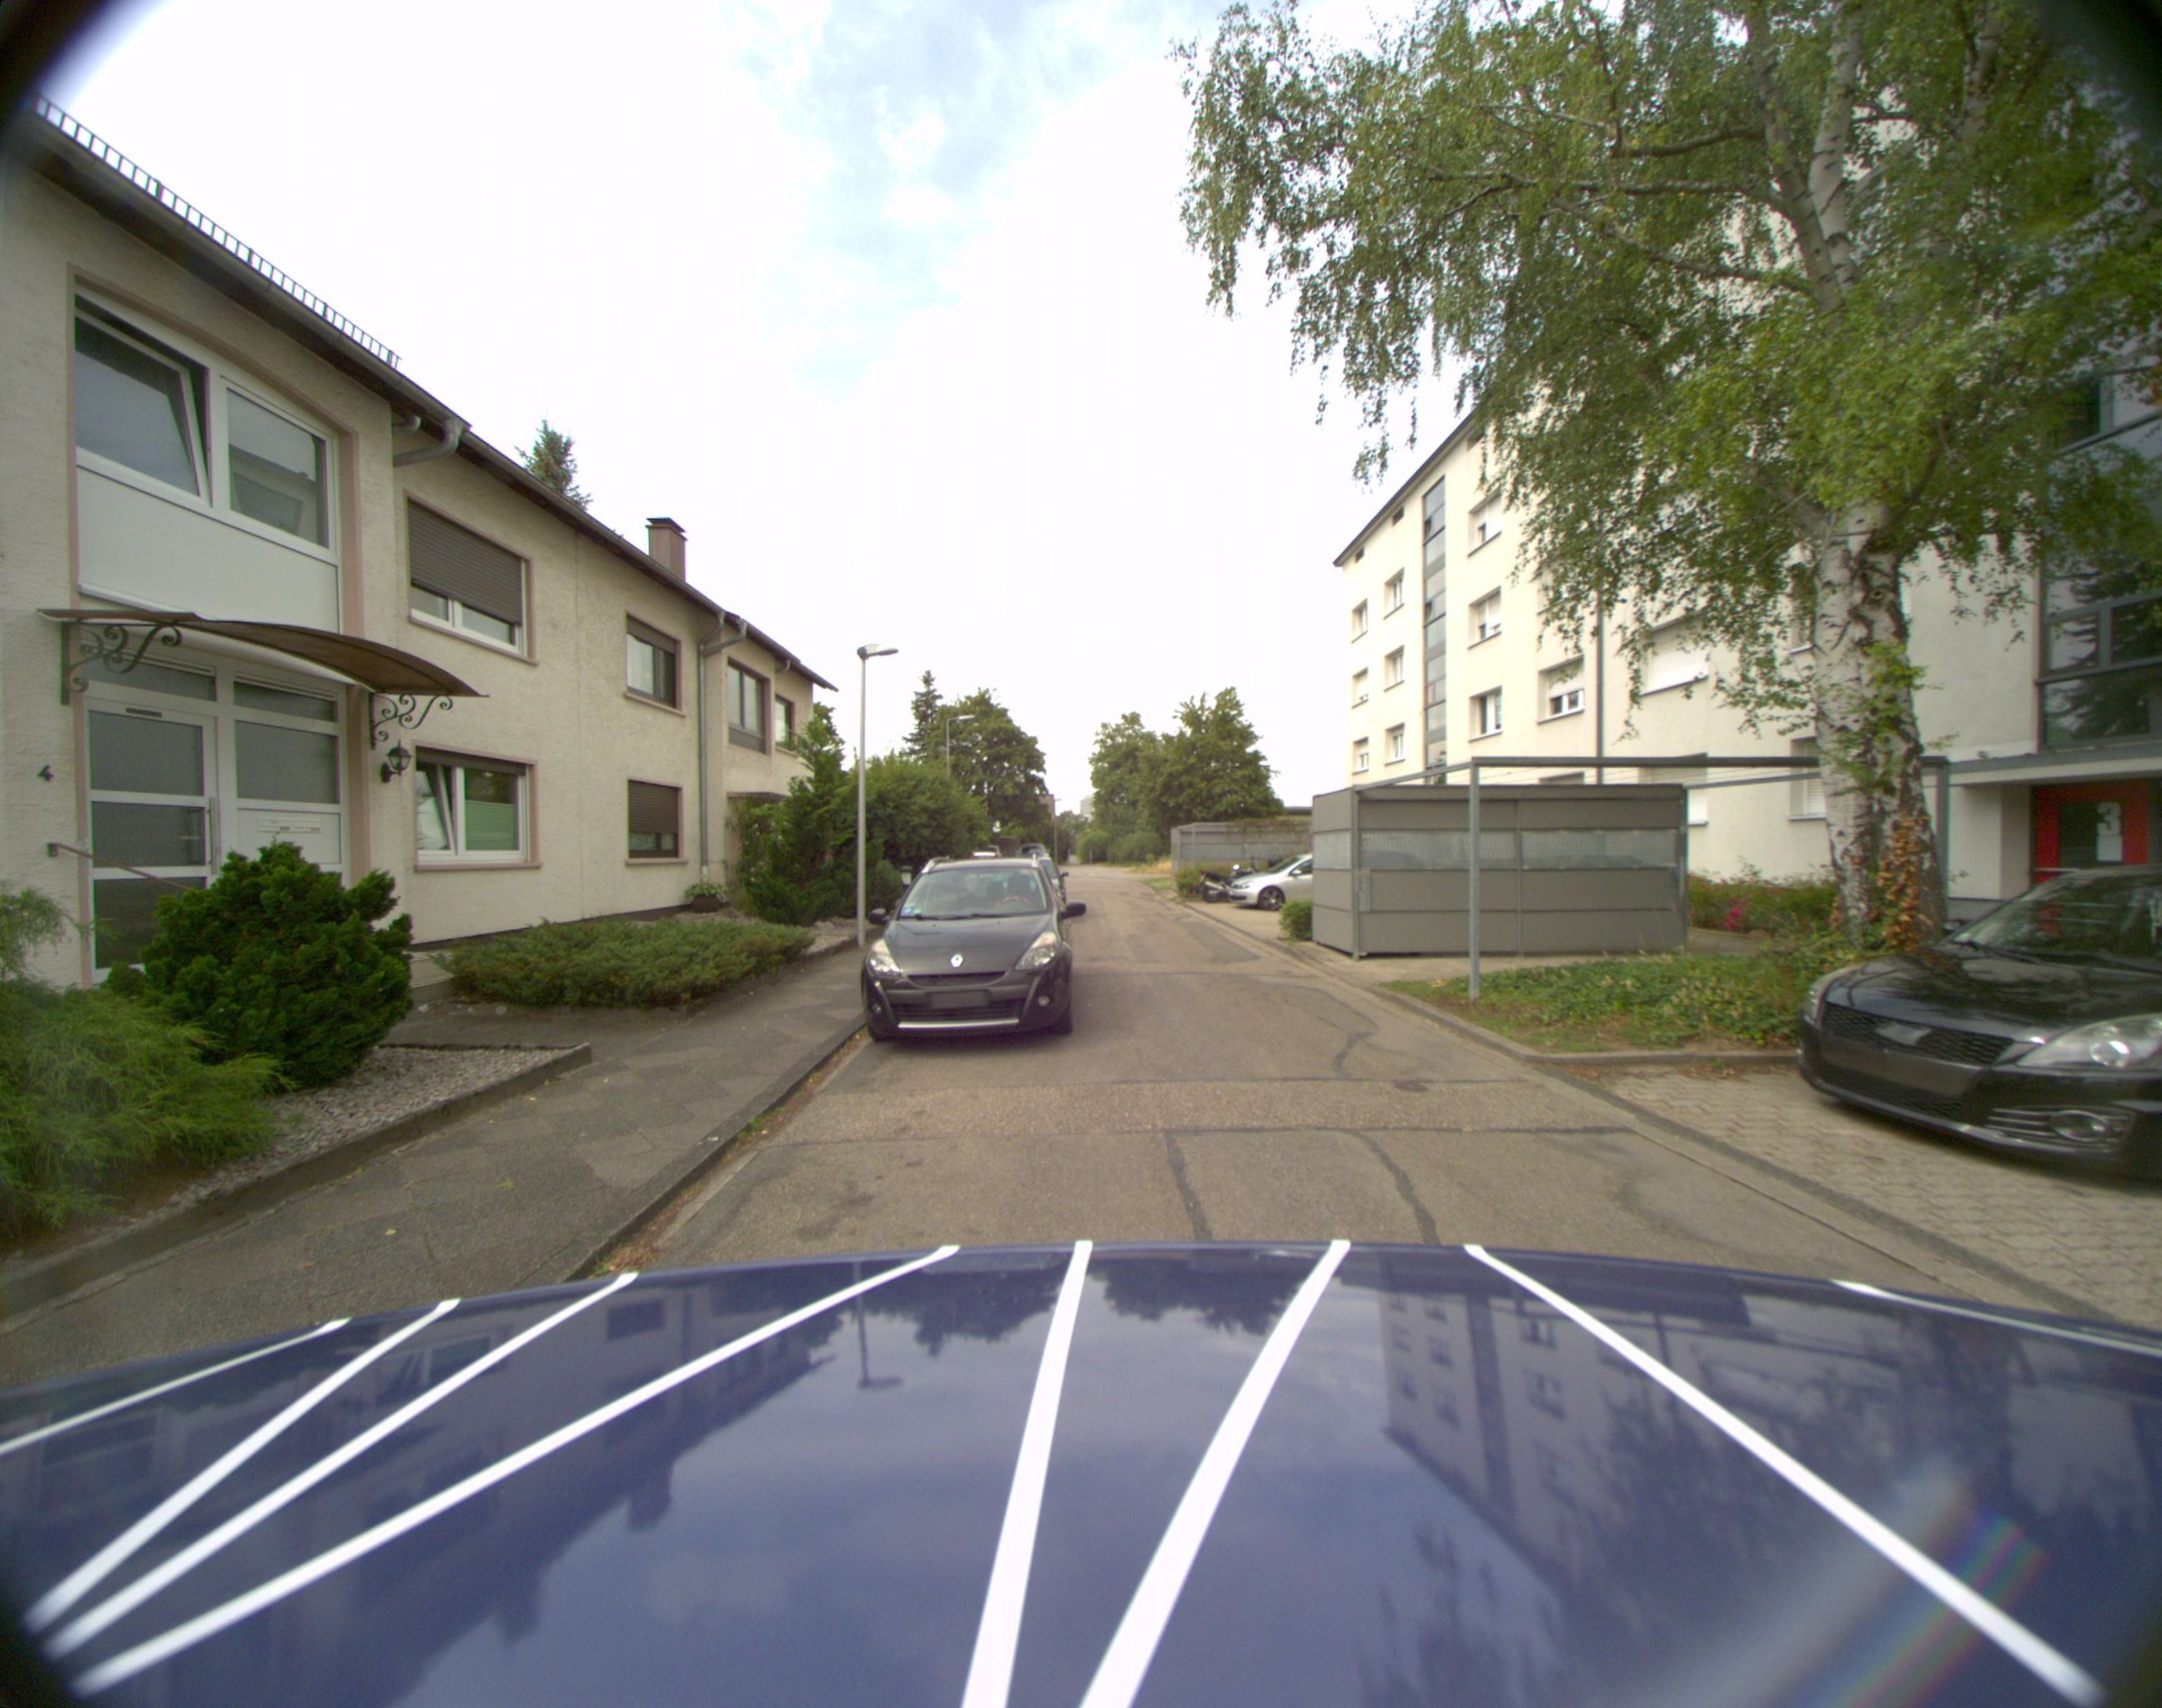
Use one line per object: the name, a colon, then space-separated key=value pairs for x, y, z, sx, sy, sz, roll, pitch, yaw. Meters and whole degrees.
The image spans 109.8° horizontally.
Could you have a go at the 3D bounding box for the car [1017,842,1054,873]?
car: x=-2.566 y=0.172 z=43.182 sx=1.926 sy=1.576 sz=3.998 roll=-2 pitch=1 yaw=-3

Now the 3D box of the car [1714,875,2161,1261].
car: x=6.099 y=0.900 z=3.996 sx=4.062 sy=1.496 sz=1.781 roll=0 pitch=1 yaw=-1

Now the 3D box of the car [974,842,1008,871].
car: x=-5.155 y=0.103 z=43.757 sx=1.705 sy=1.458 sz=3.997 roll=0 pitch=2 yaw=-3

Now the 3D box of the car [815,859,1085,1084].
car: x=-1.009 y=0.831 z=7.414 sx=1.834 sy=1.449 sz=4.188 roll=-2 pitch=1 yaw=-3

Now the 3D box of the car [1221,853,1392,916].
car: x=5.937 y=0.785 z=20.366 sx=3.997 sy=1.477 sz=1.902 roll=1 pitch=1 yaw=1

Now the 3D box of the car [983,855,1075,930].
car: x=-1.165 y=0.789 z=17.690 sx=1.834 sy=1.449 sz=4.188 roll=-2 pitch=1 yaw=-3

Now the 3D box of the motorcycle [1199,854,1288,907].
motorcycle: x=4.689 y=0.757 z=22.019 sx=2.383 sy=1.456 sz=0.714 roll=1 pitch=1 yaw=-1
